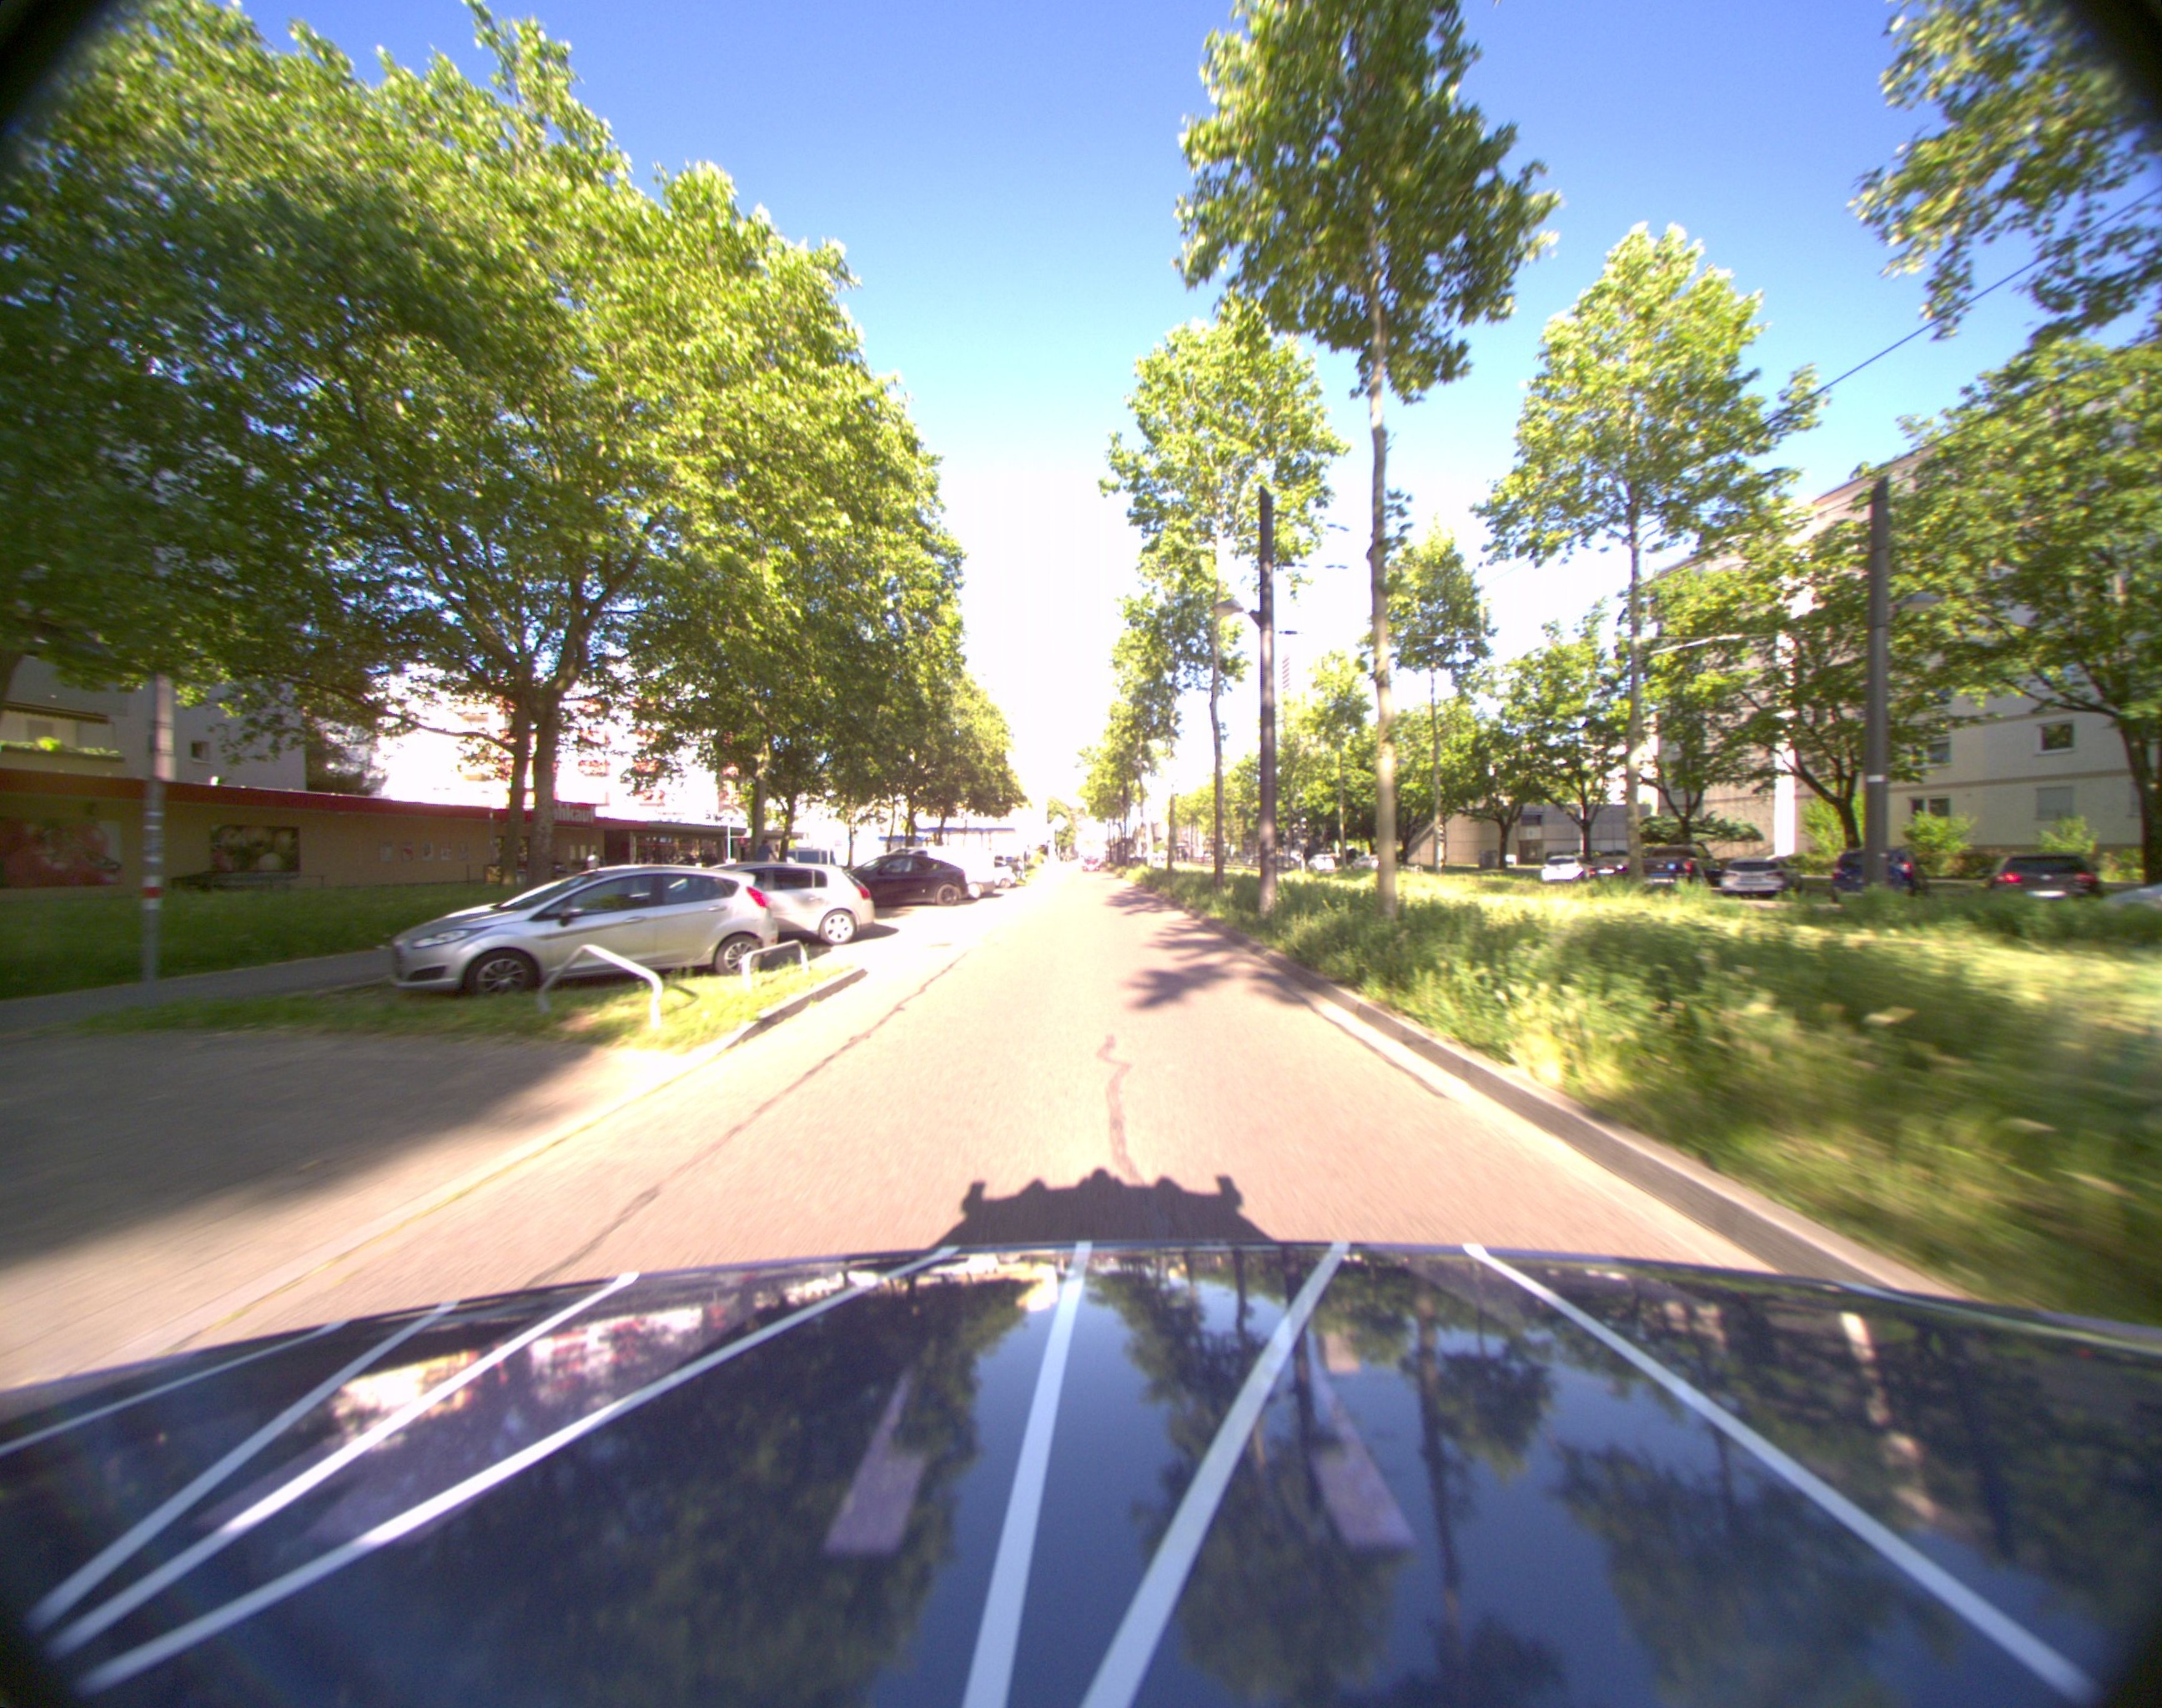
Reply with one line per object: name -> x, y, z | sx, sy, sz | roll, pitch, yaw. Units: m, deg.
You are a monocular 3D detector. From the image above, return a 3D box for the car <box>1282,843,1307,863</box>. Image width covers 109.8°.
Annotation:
car -> 24.467, -0.125, 87.253 | 1.718, 2.249, 3.933 | 0, 0, 0

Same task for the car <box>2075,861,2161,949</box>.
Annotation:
car -> 19.290, 0.903, 12.180 | 1.650, 1.477, 3.849 | 0, 1, 0

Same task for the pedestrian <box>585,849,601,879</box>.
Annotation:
pedestrian -> -27.687, 0.555, 43.104 | 0.496, 1.690, 0.715 | 0, 0, -4

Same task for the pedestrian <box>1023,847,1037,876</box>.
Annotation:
pedestrian -> -3.448, 0.504, 51.149 | 0.799, 1.874, 0.928 | -1, 1, 5

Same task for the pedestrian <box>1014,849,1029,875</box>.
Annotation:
pedestrian -> -3.852, 0.525, 49.189 | 0.714, 1.696, 0.652 | 0, 1, -33

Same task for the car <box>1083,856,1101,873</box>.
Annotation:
car -> 1.044, 0.982, 71.890 | 1.619, 1.537, 4.277 | -1, 0, 2

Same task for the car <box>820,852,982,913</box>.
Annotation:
car -> -5.451, 0.793, 23.341 | 4.512, 1.695, 1.756 | 0, 1, -40

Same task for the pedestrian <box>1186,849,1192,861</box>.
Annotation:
pedestrian -> 16.215, 0.148, 114.047 | 0.885, 1.680, 0.754 | -1, 1, 2

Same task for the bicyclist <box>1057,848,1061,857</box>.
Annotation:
bicyclist -> -3.933, -0.278, 133.395 | 0.678, 1.466, 0.936 | -1, 1, 0

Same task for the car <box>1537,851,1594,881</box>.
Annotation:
car -> 24.439, 0.554, 38.279 | 1.835, 1.426, 3.833 | 0, 0, 42

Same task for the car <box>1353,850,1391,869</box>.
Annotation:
car -> 24.324, 0.437, 63.587 | 1.718, 1.537, 4.201 | 0, 0, 2

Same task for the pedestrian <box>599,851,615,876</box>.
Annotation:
pedestrian -> -27.166, 0.541, 43.541 | 0.533, 1.422, 0.715 | 0, 0, -4

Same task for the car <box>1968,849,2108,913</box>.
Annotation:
car -> 24.521, 0.658, 19.619 | 1.647, 1.466, 4.094 | -6, -4, 44

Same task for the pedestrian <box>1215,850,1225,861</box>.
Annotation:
pedestrian -> 15.982, 0.171, 87.377 | 0.838, 1.253, 0.801 | -1, 1, 30

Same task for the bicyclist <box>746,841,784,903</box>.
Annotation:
bicyclist -> -8.989, 0.505, 21.639 | 0.624, 1.730, 1.023 | -1, 1, 1

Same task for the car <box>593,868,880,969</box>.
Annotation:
car -> -5.798, 0.976, 13.116 | 4.194, 1.404, 1.715 | 0, 1, -42

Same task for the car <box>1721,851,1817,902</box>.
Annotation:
car -> 23.938, 0.743, 26.415 | 4.093, 1.636, 1.647 | -1, 0, -36

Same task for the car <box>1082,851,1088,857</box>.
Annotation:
car -> 1.283, -0.048, 235.706 | 1.998, 1.806, 4.000 | -2, 0, 0

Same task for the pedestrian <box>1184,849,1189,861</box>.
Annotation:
pedestrian -> 15.932, 0.152, 114.905 | 0.722, 1.856, 0.637 | -1, 1, 2

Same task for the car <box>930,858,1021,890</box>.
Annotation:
car -> -5.187, 0.989, 37.410 | 4.005, 1.461, 1.756 | 2, 0, -30

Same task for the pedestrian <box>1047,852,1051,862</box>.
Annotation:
pedestrian -> -5.379, 0.563, 127.139 | 0.605, 1.692, 0.552 | -1, 1, 5

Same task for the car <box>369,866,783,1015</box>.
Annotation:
car -> -5.909, 0.860, 9.230 | 3.947, 1.365, 1.583 | 0, 1, -45

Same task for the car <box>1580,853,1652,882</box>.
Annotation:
car -> 24.438, 0.592, 34.667 | 3.833, 1.239, 1.835 | 0, 0, -41

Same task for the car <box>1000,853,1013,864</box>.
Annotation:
car -> -10.248, 0.657, 104.533 | 1.725, 1.454, 4.004 | 0, 0, -4

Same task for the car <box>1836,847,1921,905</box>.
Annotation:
car -> 24.397, 0.645, 23.340 | 4.094, 1.636, 1.647 | 0, -2, -45

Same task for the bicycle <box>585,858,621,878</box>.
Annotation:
bicycle -> -30.091, 0.878, 47.837 | 0.598, 1.172, 1.853 | -1, 1, 22

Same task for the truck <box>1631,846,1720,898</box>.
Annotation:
truck -> 23.853, 0.663, 30.459 | 4.092, 1.765, 1.646 | -3, 3, -35

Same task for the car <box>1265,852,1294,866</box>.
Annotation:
car -> 20.030, 0.509, 76.733 | 1.998, 1.381, 4.168 | 0, 0, 3

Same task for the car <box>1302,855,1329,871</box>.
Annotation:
car -> 23.419, 0.875, 76.089 | 1.718, 1.537, 3.934 | 0, 0, 4

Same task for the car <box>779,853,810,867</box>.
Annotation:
car -> -31.953, 0.649, 84.895 | 1.874, 1.495, 4.113 | -1, 0, 0

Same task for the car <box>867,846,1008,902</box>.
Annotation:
car -> -5.088, 0.655, 27.365 | 4.680, 1.842, 1.825 | 0, 1, -39

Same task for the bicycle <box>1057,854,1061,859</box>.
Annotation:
bicycle -> -3.923, 0.394, 133.439 | 0.684, 0.925, 1.736 | -1, 0, 0

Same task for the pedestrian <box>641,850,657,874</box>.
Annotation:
pedestrian -> -28.428, 0.545, 49.993 | 0.673, 1.575, 0.715 | 0, 0, -4

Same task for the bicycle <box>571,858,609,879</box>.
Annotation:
bicycle -> -29.927, 0.881, 46.306 | 0.597, 1.172, 1.854 | -1, 1, 29
